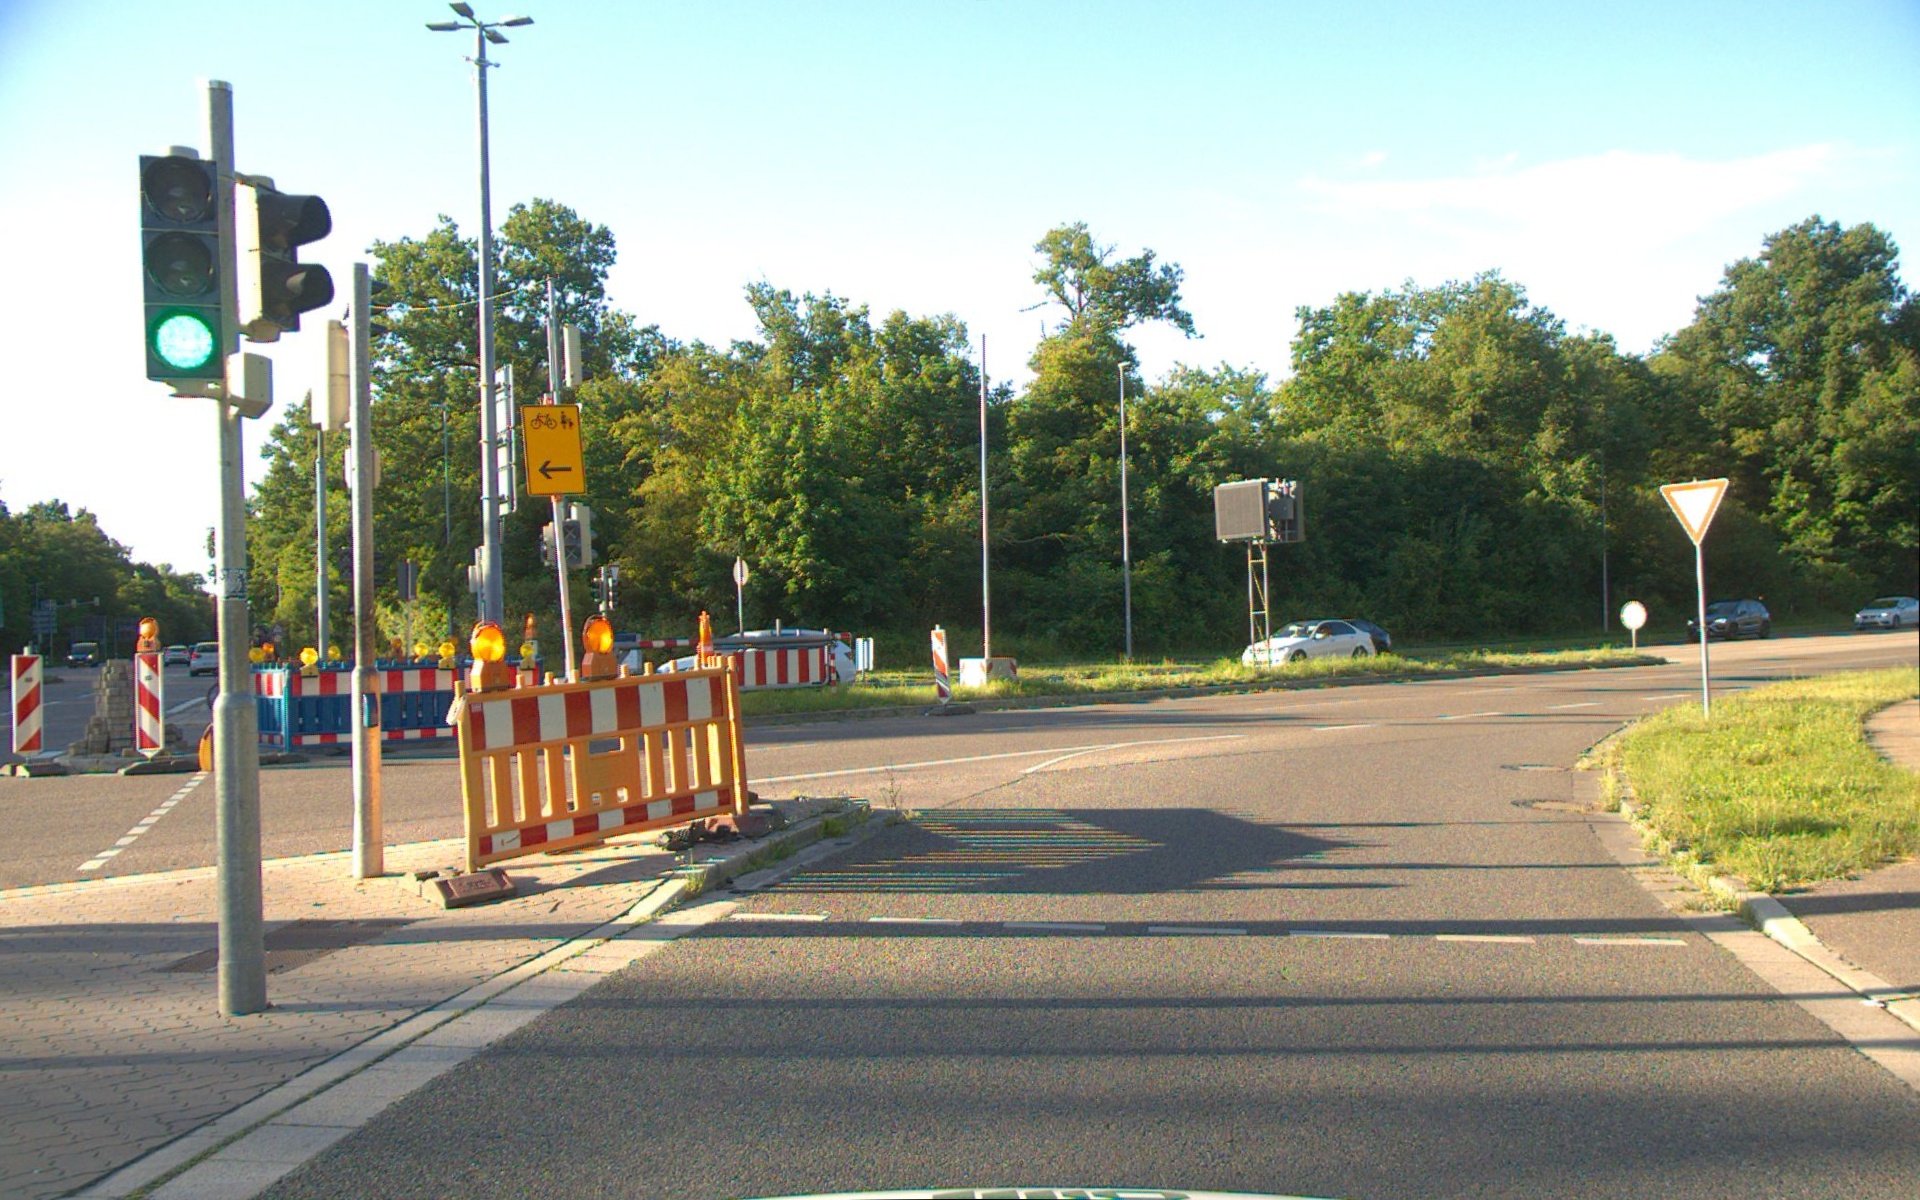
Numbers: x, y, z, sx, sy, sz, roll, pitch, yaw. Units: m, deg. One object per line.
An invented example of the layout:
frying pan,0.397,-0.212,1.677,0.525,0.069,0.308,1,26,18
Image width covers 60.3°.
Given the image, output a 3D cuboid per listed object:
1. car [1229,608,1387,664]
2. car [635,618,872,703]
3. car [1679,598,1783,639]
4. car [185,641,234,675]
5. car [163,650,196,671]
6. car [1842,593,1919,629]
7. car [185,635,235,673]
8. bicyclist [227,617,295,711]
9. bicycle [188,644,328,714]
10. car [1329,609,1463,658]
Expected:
car,10.083,1.027,47.761,4.764,1.461,1.970,-1,-1,-41
car,-4.383,1.256,35.558,4.792,1.608,1.969,-1,-1,-42
car,32.090,0.761,68.824,4.601,1.556,1.974,-1,-1,-37
car,-34.105,2.624,75.235,1.915,1.439,3.970,-2,-1,-24
car,-58.726,4.529,124.471,1.836,1.469,3.976,-1,-1,-20
car,43.397,0.504,77.283,4.597,1.556,1.975,-1,-1,-35
car,-33.825,2.423,74.643,1.967,1.563,3.970,-2,-1,-24
bicyclist,-14.863,1.349,35.177,0.950,1.964,1.012,-1,-2,38
bicycle,-14.877,1.652,35.136,0.950,1.407,2.628,-1,-1,38
car,14.503,1.104,54.890,4.764,1.461,1.970,-1,-1,-41
